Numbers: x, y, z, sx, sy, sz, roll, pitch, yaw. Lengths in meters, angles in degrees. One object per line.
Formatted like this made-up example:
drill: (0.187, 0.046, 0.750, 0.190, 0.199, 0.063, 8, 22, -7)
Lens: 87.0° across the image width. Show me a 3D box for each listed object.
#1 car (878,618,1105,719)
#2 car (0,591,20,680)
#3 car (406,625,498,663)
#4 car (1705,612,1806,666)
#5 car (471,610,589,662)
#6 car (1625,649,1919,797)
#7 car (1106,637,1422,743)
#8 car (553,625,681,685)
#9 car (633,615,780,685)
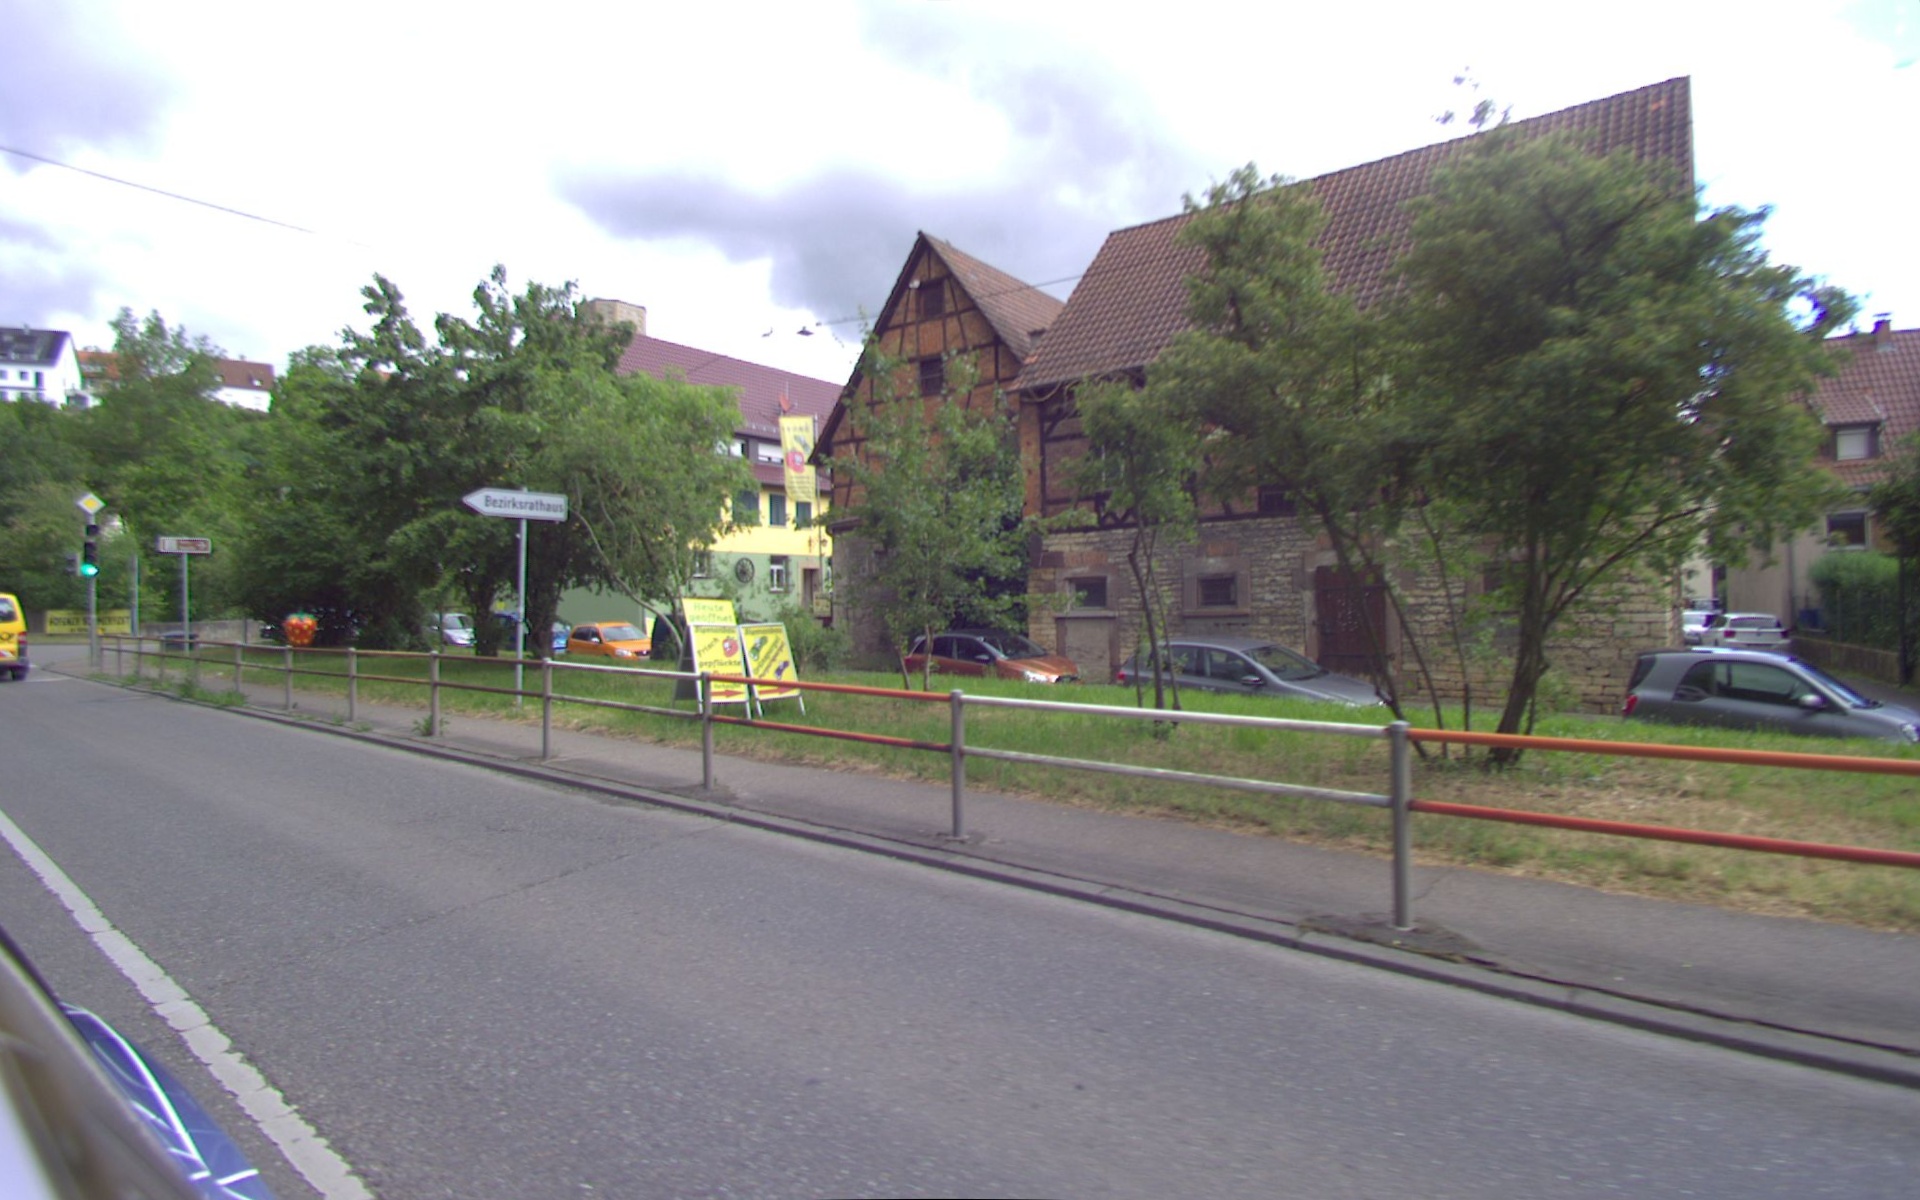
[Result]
car: (0.502, 1.171, 18.526, 4.001, 1.630, 1.791, -1, -2, 44)
car: (-23.012, 0.808, 23.064, 4.766, 1.945, 1.826, -1, 0, 41)
car: (-19.378, 1.653, 38.542, 4.149, 1.355, 1.628, -1, -2, 41)
car: (23.832, 1.139, 30.457, 1.708, 1.443, 3.961, 2, 0, 28)
car: (-14.412, 1.175, 33.800, 4.448, 1.630, 1.972, -1, -2, 43)
car: (8.615, 1.184, 10.524, 1.534, 1.287, 2.556, 2, -2, -43)
car: (4.332, 1.212, 14.849, 1.970, 1.287, 4.004, 2, -2, -43)
car: (-10.125, 1.568, 29.721, 4.001, 1.630, 1.926, -1, -2, 44)
car: (-6.514, 1.221, 25.780, 4.001, 1.630, 1.791, -1, -2, 44)
